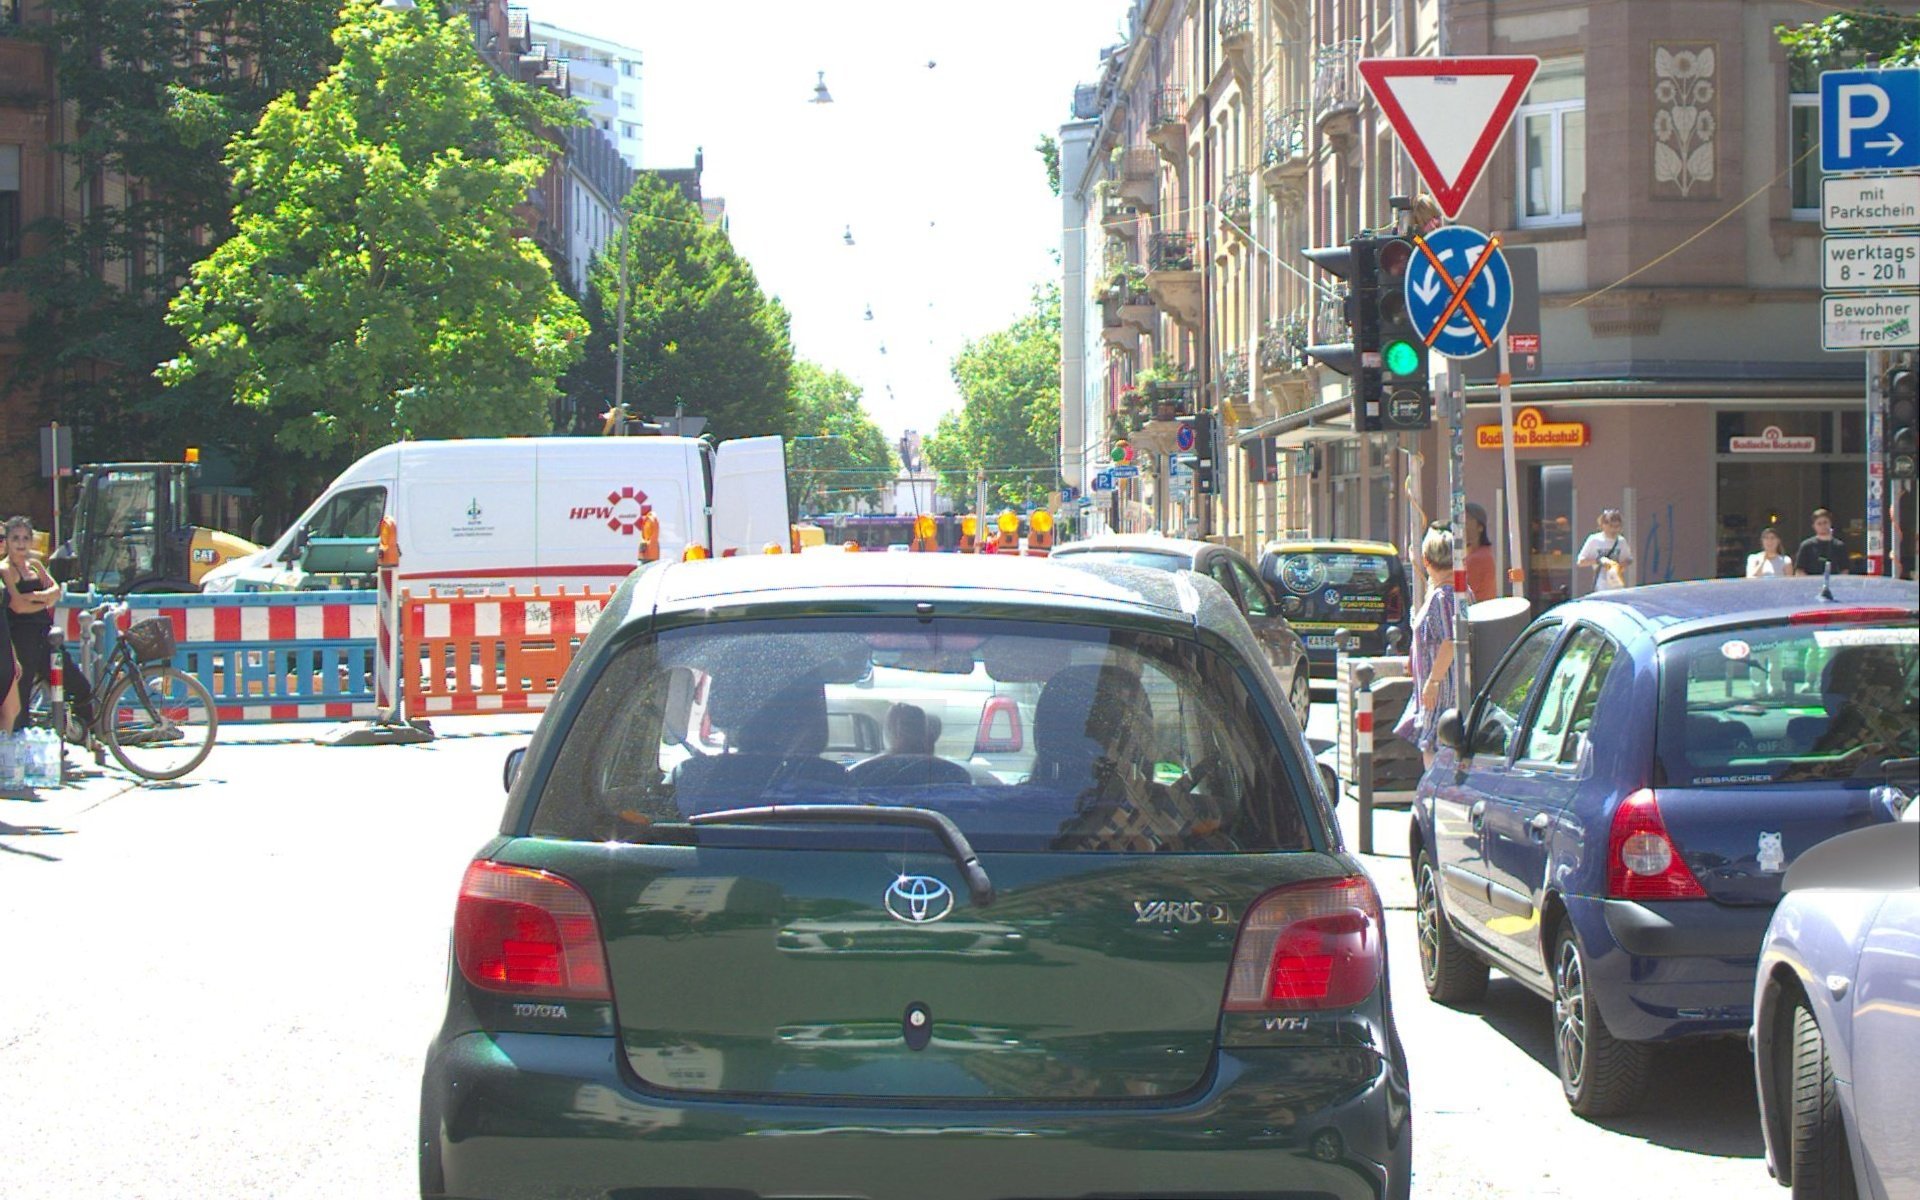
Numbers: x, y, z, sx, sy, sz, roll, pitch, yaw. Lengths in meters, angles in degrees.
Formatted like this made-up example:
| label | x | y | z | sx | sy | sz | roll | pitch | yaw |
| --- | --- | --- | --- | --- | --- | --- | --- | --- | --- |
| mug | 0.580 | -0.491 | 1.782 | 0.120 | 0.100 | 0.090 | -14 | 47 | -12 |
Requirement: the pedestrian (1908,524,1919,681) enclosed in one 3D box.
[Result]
| label | x | y | z | sx | sy | sz | roll | pitch | yaw |
| --- | --- | --- | --- | --- | --- | --- | --- | --- | --- |
| pedestrian | 10.299 | 0.027 | 35.576 | 0.801 | 1.618 | 0.643 | 0 | 1 | 2 |

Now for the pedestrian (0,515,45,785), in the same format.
| label | x | y | z | sx | sy | sz | roll | pitch | yaw |
| --- | --- | --- | --- | --- | --- | --- | --- | --- | --- |
| pedestrian | -5.918 | 0.297 | 20.999 | 0.541 | 1.627 | 0.511 | 0 | 1 | -3 |

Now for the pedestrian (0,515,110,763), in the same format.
| label | x | y | z | sx | sy | sz | roll | pitch | yaw |
| --- | --- | --- | --- | --- | --- | --- | --- | --- | --- |
| pedestrian | -5.841 | 0.245 | 22.136 | 0.496 | 1.560 | 0.459 | 3 | 2 | 26 |

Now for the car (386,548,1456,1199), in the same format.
| label | x | y | z | sx | sy | sz | roll | pitch | yaw |
| --- | --- | --- | --- | --- | --- | --- | --- | --- | --- |
| car | 0.010 | 0.653 | 6.844 | 1.614 | 1.480 | 3.240 | 1 | 1 | 3 |

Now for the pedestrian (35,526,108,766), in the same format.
| label | x | y | z | sx | sy | sz | roll | pitch | yaw |
| --- | --- | --- | --- | --- | --- | --- | --- | --- | --- |
| pedestrian | -6.044 | 0.306 | 23.387 | 0.389 | 1.612 | 0.475 | 0 | 1 | -3 |

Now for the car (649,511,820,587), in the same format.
| label | x | y | z | sx | sy | sz | roll | pitch | yaw |
| --- | --- | --- | --- | --- | --- | --- | --- | --- | --- |
| car | -6.590 | -1.473 | 100.402 | 4.557 | 2.180 | 2.000 | 0 | 1 | -27 |

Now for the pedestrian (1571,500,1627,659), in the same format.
| label | x | y | z | sx | sy | sz | roll | pitch | yaw |
| --- | --- | --- | --- | --- | --- | --- | --- | --- | --- |
| pedestrian | 7.033 | -0.219 | 37.815 | 0.478 | 1.727 | 0.871 | 0 | 0 | 19 |

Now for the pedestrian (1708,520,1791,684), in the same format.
| label | x | y | z | sx | sy | sz | roll | pitch | yaw |
| --- | --- | --- | --- | --- | --- | --- | --- | --- | --- |
| pedestrian | 8.142 | 0.014 | 35.451 | 0.701 | 1.639 | 0.423 | -2 | 4 | -8 |

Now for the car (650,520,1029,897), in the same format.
| label | x | y | z | sx | sy | sz | roll | pitch | yaw |
| --- | --- | --- | --- | --- | --- | --- | --- | --- | --- |
| car | -0.510 | 0.401 | 15.447 | 1.522 | 1.516 | 3.264 | 0 | 1 | -1 |

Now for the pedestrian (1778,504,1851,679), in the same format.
| label | x | y | z | sx | sy | sz | roll | pitch | yaw |
| --- | --- | --- | --- | --- | --- | --- | --- | --- | --- |
| pedestrian | 8.855 | -0.090 | 35.630 | 0.575 | 1.762 | 0.472 | -2 | 4 | -8 |

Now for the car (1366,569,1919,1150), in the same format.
| label | x | y | z | sx | sy | sz | roll | pitch | yaw |
| --- | --- | --- | --- | --- | --- | --- | --- | --- | --- |
| car | 2.361 | 0.643 | 10.596 | 1.627 | 1.427 | 3.661 | -1 | 1 | -2 |

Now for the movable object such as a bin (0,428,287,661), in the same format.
| label | x | y | z | sx | sy | sz | roll | pitch | yaw |
| --- | --- | --- | --- | --- | --- | --- | --- | --- | --- |
| movable object such as a bin | -10.604 | -0.687 | 41.358 | 4.543 | 2.650 | 1.955 | 2 | 1 | 1 |

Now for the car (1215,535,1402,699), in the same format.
| label | x | y | z | sx | sy | sz | roll | pitch | yaw |
| --- | --- | --- | --- | --- | --- | --- | --- | --- | --- |
| car | 3.288 | 0.122 | 32.369 | 1.627 | 1.427 | 3.659 | -1 | 1 | 6 |

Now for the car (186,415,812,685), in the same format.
| label | x | y | z | sx | sy | sz | roll | pitch | yaw |
| --- | --- | --- | --- | --- | --- | --- | --- | --- | --- |
| car | -5.073 | -0.566 | 38.592 | 6.622 | 2.742 | 2.380 | 2 | 1 | 1 |

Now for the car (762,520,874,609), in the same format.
| label | x | y | z | sx | sy | sz | roll | pitch | yaw |
| --- | --- | --- | --- | --- | --- | --- | --- | --- | --- |
| car | -2.387 | -0.610 | 58.669 | 1.754 | 1.439 | 4.000 | -1 | 1 | 0 |

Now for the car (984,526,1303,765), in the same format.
| label | x | y | z | sx | sy | sz | roll | pitch | yaw |
| --- | --- | --- | --- | --- | --- | --- | --- | --- | --- |
| car | 1.378 | 0.266 | 24.631 | 1.524 | 1.587 | 3.261 | 0 | 1 | 17 |

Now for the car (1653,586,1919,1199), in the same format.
| label | x | y | z | sx | sy | sz | roll | pitch | yaw |
| --- | --- | --- | --- | --- | --- | --- | --- | --- | --- |
| car | 2.461 | 0.711 | 5.221 | 1.725 | 1.427 | 4.486 | -1 | 1 | -2 |

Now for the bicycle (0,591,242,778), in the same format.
| label | x | y | z | sx | sy | sz | roll | pitch | yaw |
| --- | --- | --- | --- | --- | --- | --- | --- | --- | --- |
| bicycle | -5.571 | 0.534 | 22.304 | 1.806 | 1.115 | 0.467 | 2 | 1 | 21 |

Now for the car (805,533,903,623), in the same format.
| label | x | y | z | sx | sy | sz | roll | pitch | yaw |
| --- | --- | --- | --- | --- | --- | --- | --- | --- | --- |
| car | -2.071 | -0.461 | 68.293 | 1.754 | 1.639 | 4.378 | -3 | 1 | 0 |

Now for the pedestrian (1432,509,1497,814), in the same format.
| label | x | y | z | sx | sy | sz | roll | pitch | yaw |
| --- | --- | --- | --- | --- | --- | --- | --- | --- | --- |
| pedestrian | 2.790 | 0.334 | 19.013 | 0.332 | 1.670 | 0.401 | 0 | 1 | 6 |

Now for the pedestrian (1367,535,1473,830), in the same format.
| label | x | y | z | sx | sy | sz | roll | pitch | yaw |
| --- | --- | --- | --- | --- | --- | --- | --- | --- | --- |
| pedestrian | 2.444 | 0.432 | 18.295 | 0.493 | 1.538 | 0.436 | -2 | 1 | 6 |

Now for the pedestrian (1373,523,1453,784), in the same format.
| label | x | y | z | sx | sy | sz | roll | pitch | yaw |
| --- | --- | --- | --- | --- | --- | --- | --- | --- | --- |
| pedestrian | 2.734 | 0.316 | 20.780 | 0.459 | 1.555 | 0.479 | 0 | 1 | 6 |
